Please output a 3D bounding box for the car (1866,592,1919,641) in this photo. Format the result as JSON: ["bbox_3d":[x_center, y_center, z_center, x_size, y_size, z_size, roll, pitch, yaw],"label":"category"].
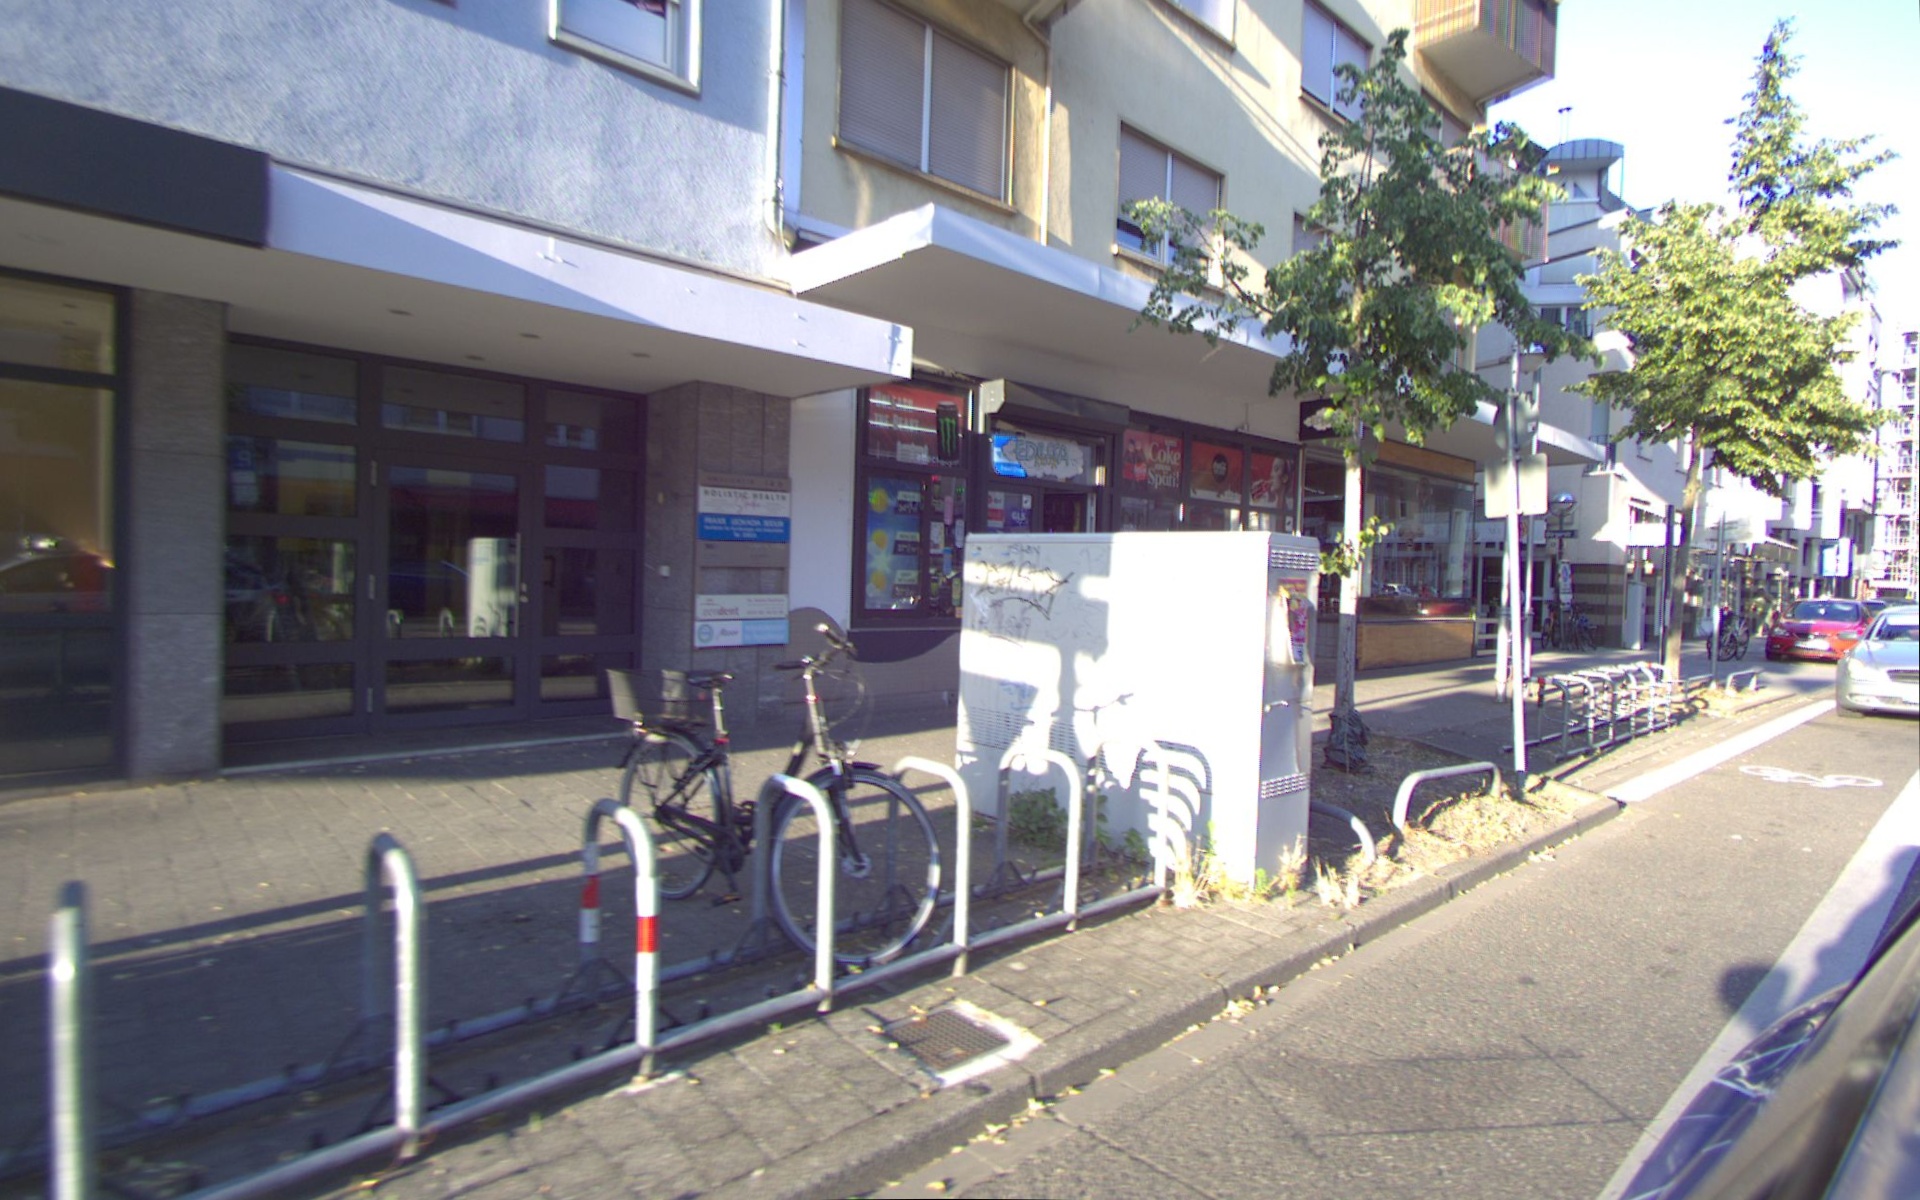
[{"bbox_3d":[30.061,0.487,32.297,3.324,1.469,1.429,0,1,-43],"label":"car"}]

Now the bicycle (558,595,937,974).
[{"bbox_3d":[-0.901,0.608,4.035,1.652,1.209,0.487,2,1,36],"label":"bicycle"}]

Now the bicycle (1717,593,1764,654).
[{"bbox_3d":[17.136,0.500,22.207,1.683,1.253,0.504,-1,3,-43],"label":"bicycle"}]

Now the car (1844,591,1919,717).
[{"bbox_3d":[12.621,0.596,12.684,4.494,1.386,1.788,-1,1,-42],"label":"car"}]

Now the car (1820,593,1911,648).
[{"bbox_3d":[24.850,0.523,27.740,3.633,1.411,1.611,0,0,-44],"label":"car"}]

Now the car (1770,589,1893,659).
[{"bbox_3d":[19.742,0.488,22.877,3.932,1.446,1.651,0,0,-42],"label":"car"}]

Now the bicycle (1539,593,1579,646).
[{"bbox_3d":[13.830,0.436,23.334,0.330,1.144,1.981,2,2,44],"label":"bicycle"}]

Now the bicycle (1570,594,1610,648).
[{"bbox_3d":[14.263,0.460,22.900,0.331,1.143,1.981,4,3,44],"label":"bicycle"}]
